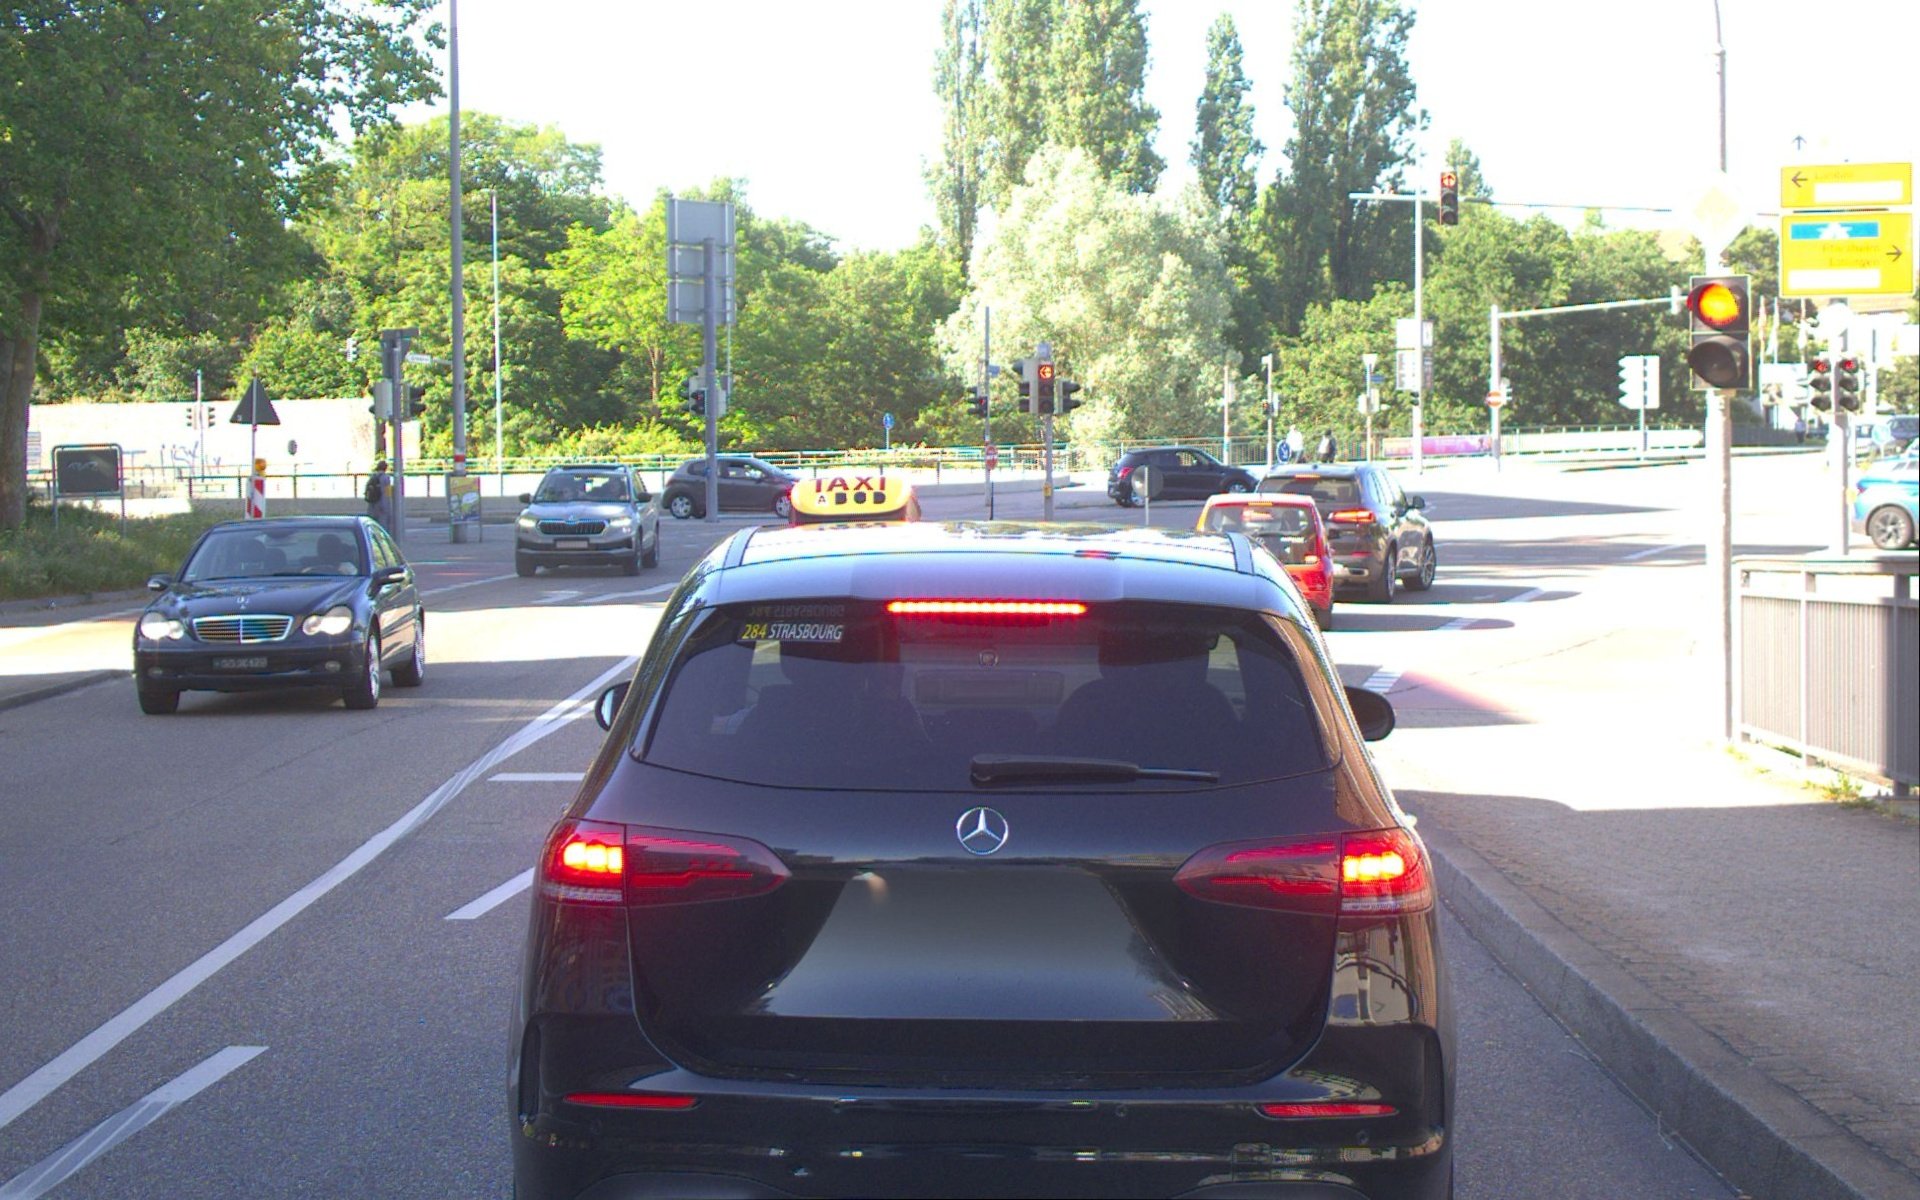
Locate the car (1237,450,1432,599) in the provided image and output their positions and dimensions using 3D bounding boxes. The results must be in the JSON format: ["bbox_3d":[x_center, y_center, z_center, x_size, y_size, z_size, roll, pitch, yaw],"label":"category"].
[{"bbox_3d":[4.954,-1.026,44.994,1.723,1.805,4.294,0,3,17],"label":"car"}]

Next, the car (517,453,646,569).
[{"bbox_3d":[-5.664,-1.371,51.817,1.804,1.617,4.001,0,3,-4],"label":"car"}]

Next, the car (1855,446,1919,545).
[{"bbox_3d":[17.072,-1.702,56.074,4.399,1.586,1.918,2,4,38],"label":"car"}]

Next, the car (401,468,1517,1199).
[{"bbox_3d":[-0.028,0.538,7.838,1.878,1.608,4.000,1,2,-1],"label":"car"}]

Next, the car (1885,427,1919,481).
[{"bbox_3d":[26.654,-3.916,91.053,4.302,1.360,2.000,-4,4,-38],"label":"car"}]

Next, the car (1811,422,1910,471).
[{"bbox_3d":[30.056,-5.118,114.663,1.882,1.573,3.992,1,3,36],"label":"car"}]

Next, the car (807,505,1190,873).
[{"bbox_3d":[0.219,0.343,16.724,1.640,1.524,3.474,-1,2,2],"label":"car"}]

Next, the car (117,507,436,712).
[{"bbox_3d":[-5.228,0.011,26.801,1.741,1.402,4.202,-1,2,-2],"label":"car"}]

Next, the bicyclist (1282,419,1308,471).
[{"bbox_3d":[10.086,-4.674,103.407,0.526,1.545,0.806,-1,2,24],"label":"bicyclist"}]

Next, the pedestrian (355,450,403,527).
[{"bbox_3d":[-11.486,-2.205,67.986,0.705,1.520,0.743,1,2,10],"label":"pedestrian"}]

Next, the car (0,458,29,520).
[{"bbox_3d":[-26.974,-2.964,91.836,3.994,1.624,1.887,1,3,33],"label":"car"}]

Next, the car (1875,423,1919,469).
[{"bbox_3d":[33.546,-5.384,119.817,1.882,1.573,3.992,1,3,36],"label":"car"}]

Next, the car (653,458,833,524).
[{"bbox_3d":[-5.125,-2.574,81.507,3.988,1.492,1.744,0,1,8],"label":"car"}]

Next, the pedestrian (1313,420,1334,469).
[{"bbox_3d":[11.669,-4.995,110.348,0.451,1.580,0.500,1,3,40],"label":"pedestrian"}]

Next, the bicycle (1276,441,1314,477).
[{"bbox_3d":[10.086,-4.240,103.436,0.526,1.046,1.988,-1,3,24],"label":"bicycle"}]

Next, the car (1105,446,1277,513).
[{"bbox_3d":[5.739,-2.994,85.712,3.986,1.542,1.891,1,0,-6],"label":"car"}]

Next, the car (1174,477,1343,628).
[{"bbox_3d":[3.418,-0.578,38.931,1.722,1.516,3.485,0,4,8],"label":"car"}]
